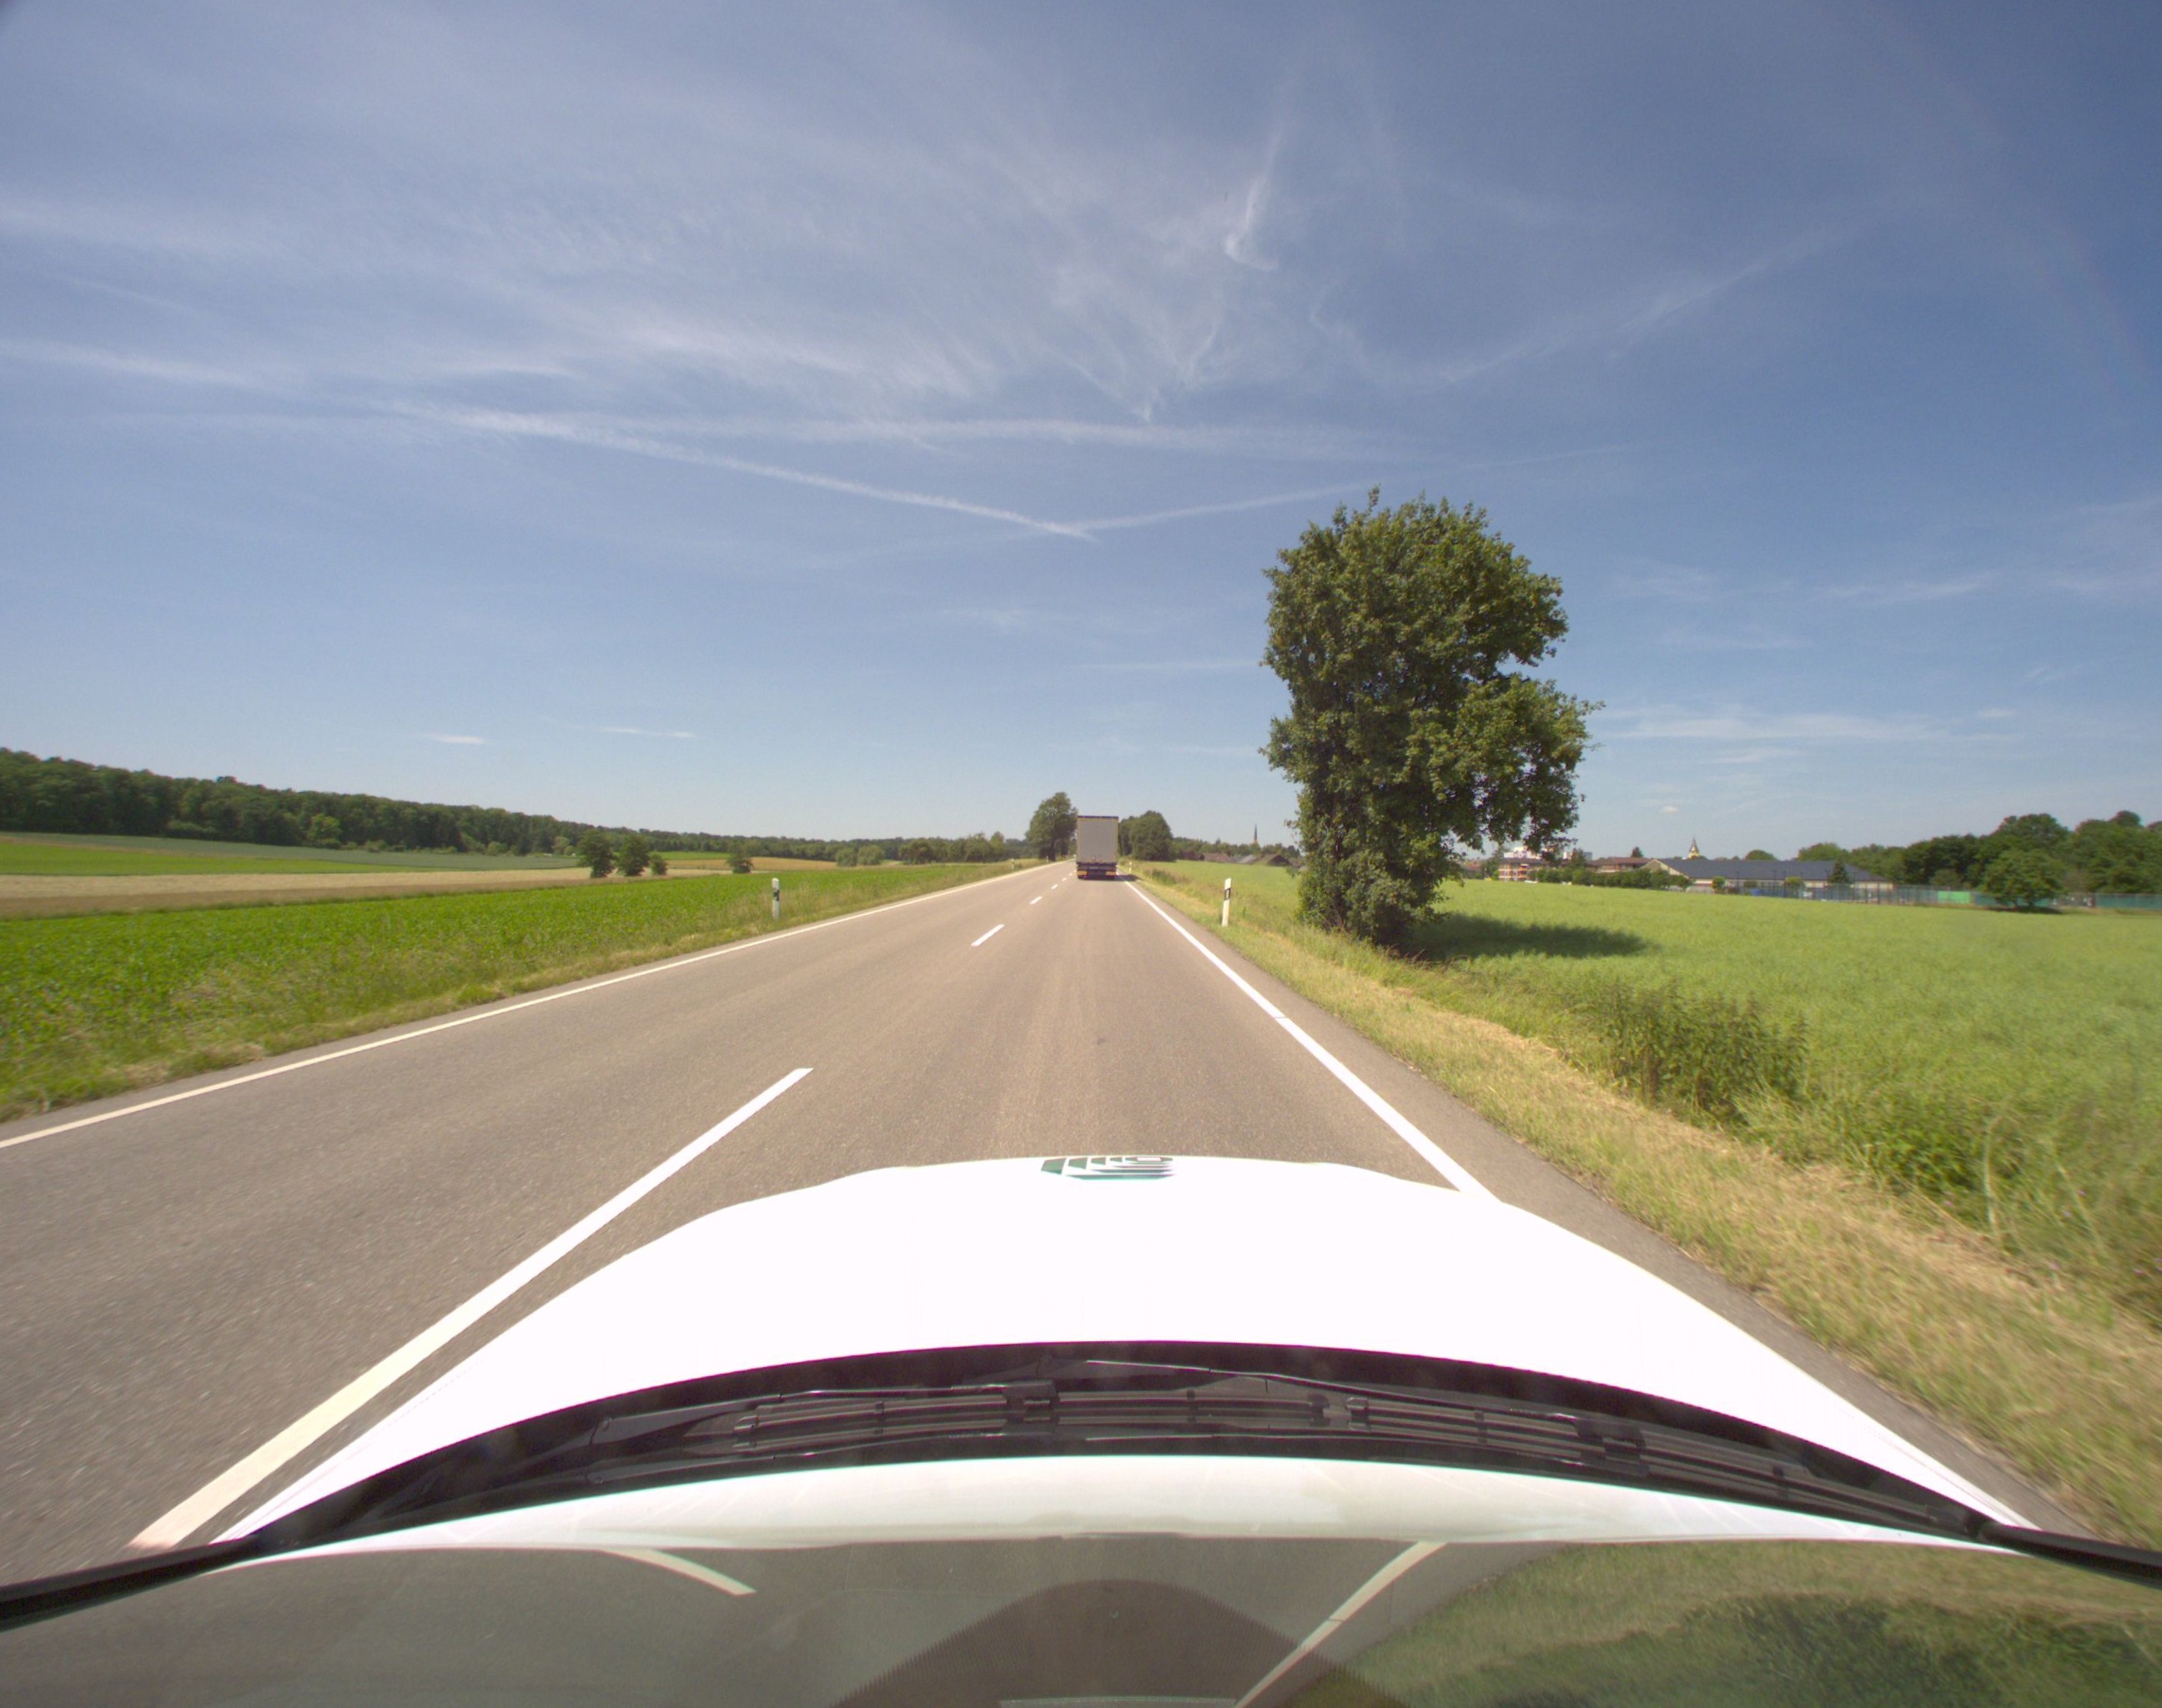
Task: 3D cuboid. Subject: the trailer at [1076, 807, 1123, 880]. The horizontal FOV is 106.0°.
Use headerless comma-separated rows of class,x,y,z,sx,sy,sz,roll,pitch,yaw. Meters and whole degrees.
trailer,1.075,-0.652,56.452,2.858,4.400,13.488,1,0,0
